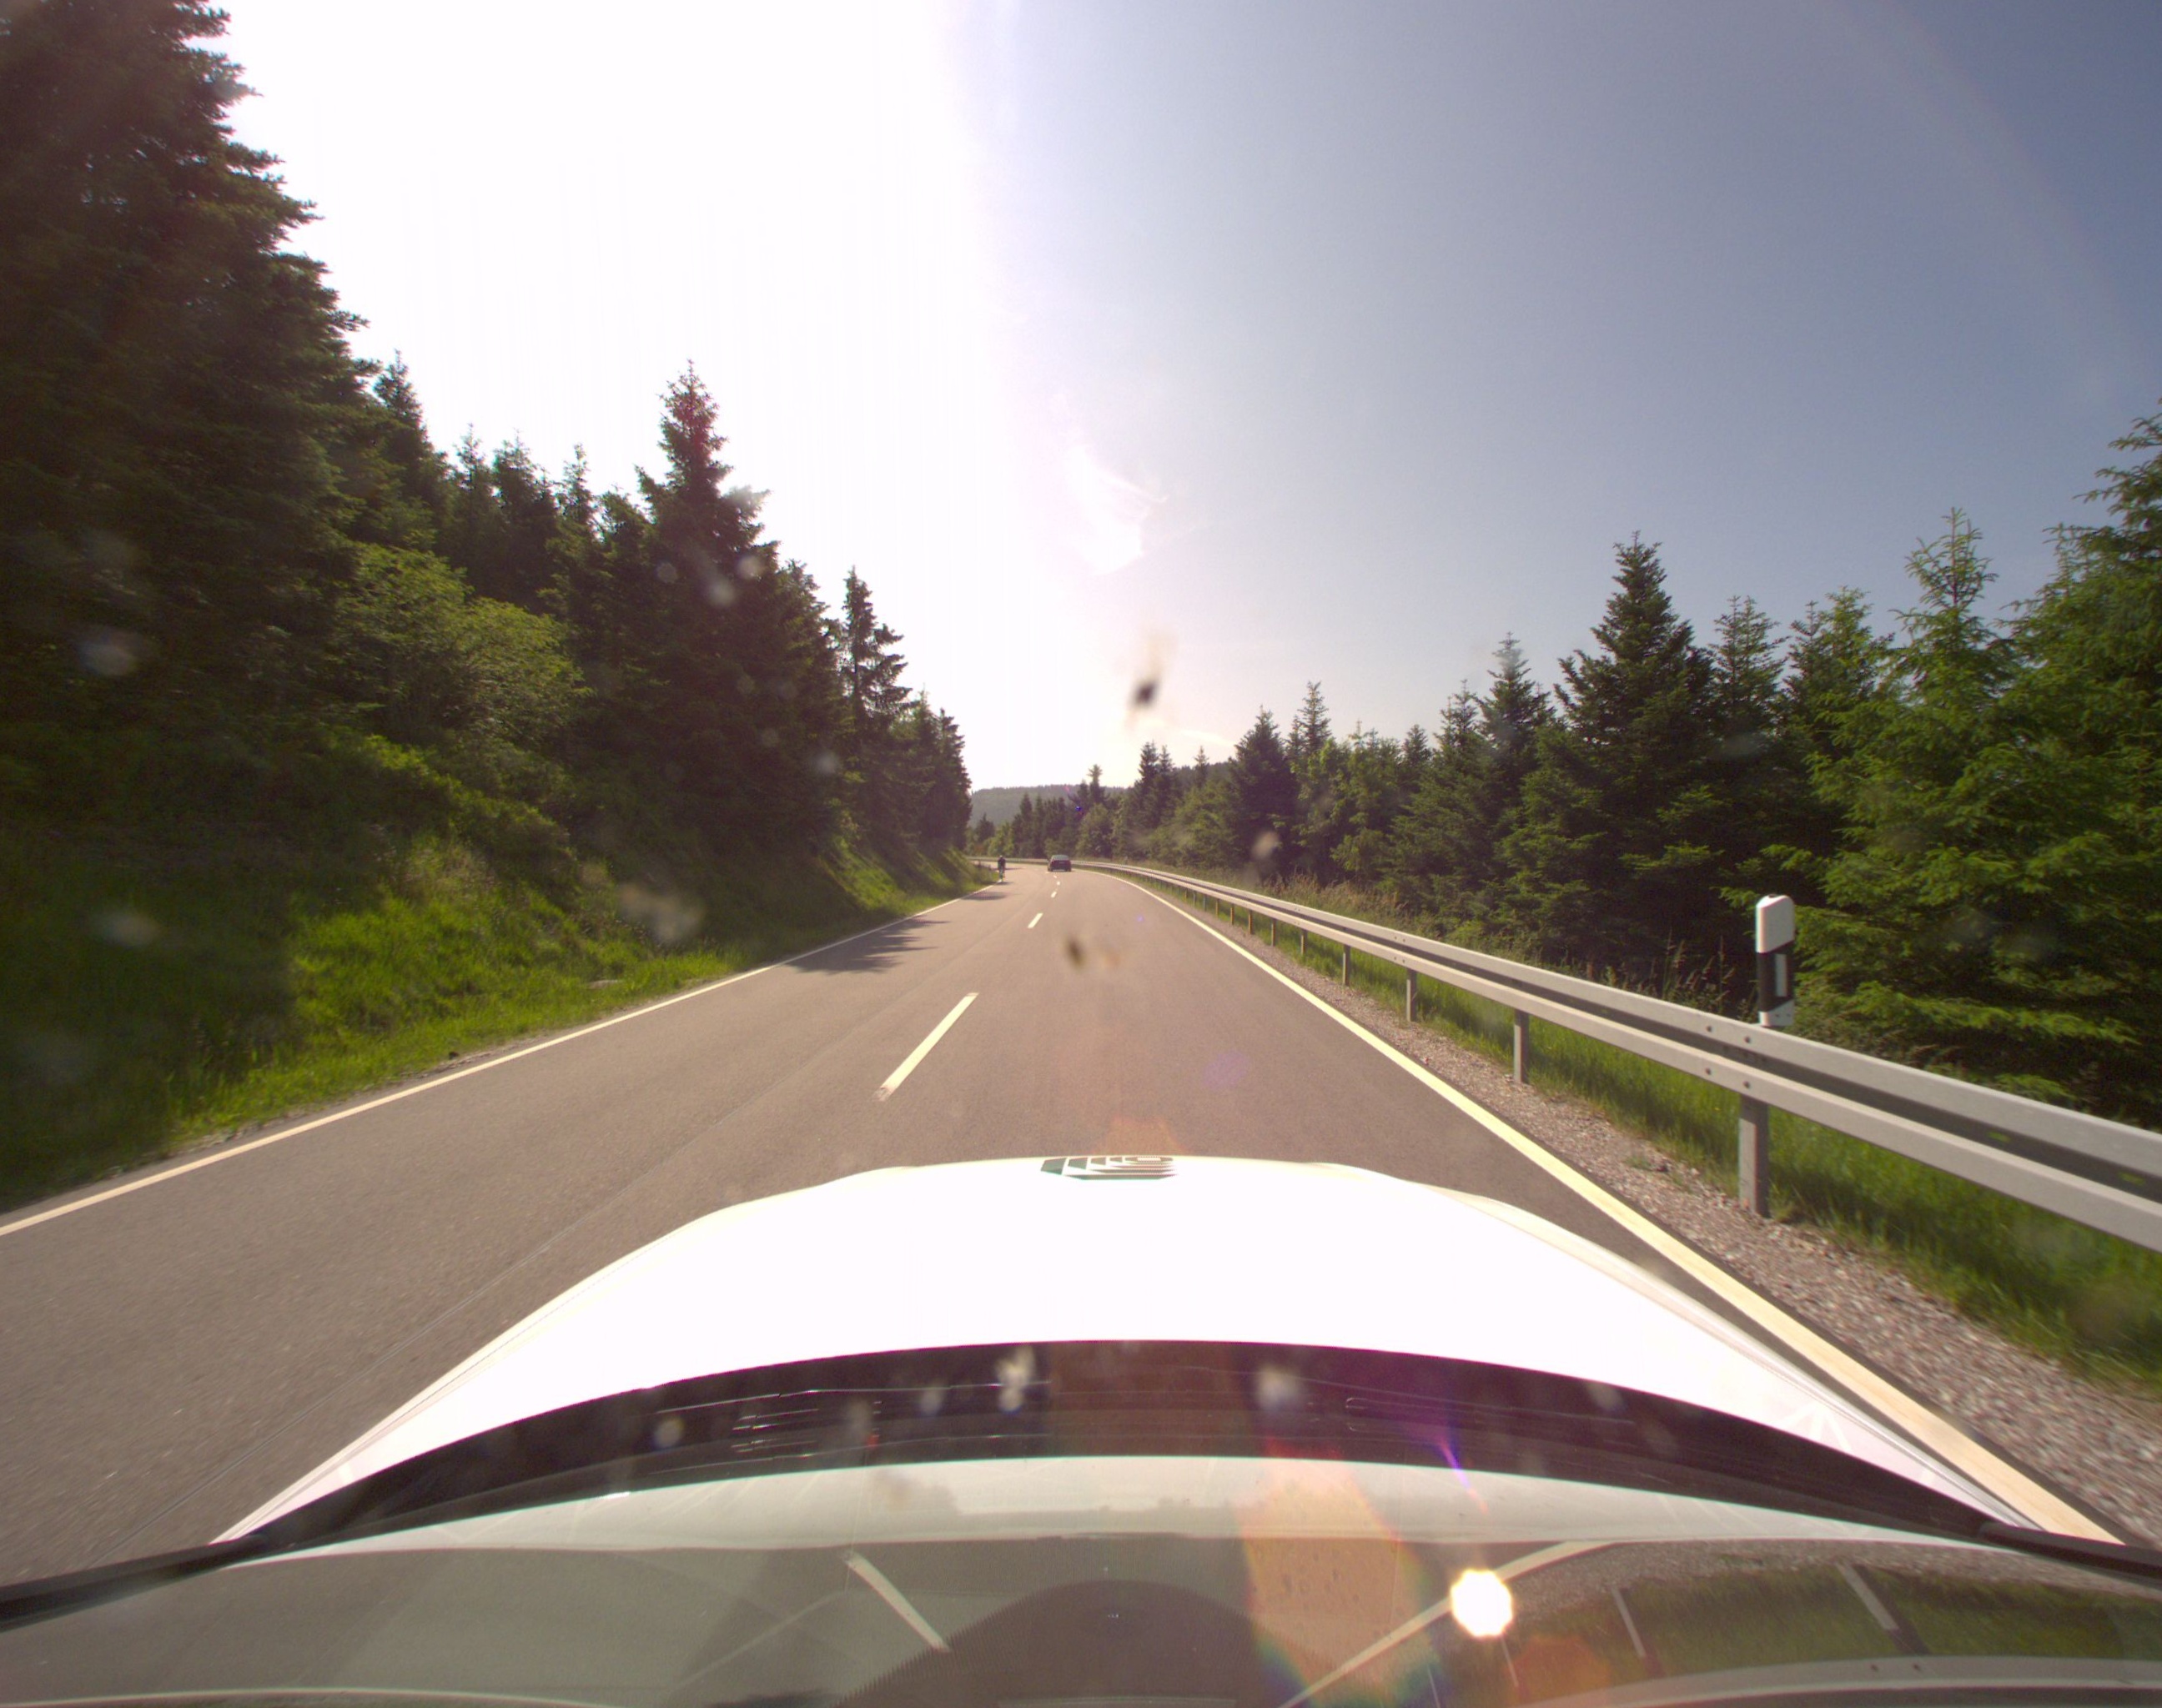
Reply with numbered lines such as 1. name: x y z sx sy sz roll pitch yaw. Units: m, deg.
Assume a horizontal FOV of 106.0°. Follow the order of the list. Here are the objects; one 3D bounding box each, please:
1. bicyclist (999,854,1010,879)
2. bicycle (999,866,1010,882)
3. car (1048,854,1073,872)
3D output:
1. bicyclist: -4.544 0.718 48.304 0.540 1.451 0.982 -2 0 -4
2. bicycle: -4.533 1.165 48.364 0.552 0.886 2.060 -2 0 -3
3. car: -1.804 0.733 69.924 1.774 1.442 3.700 -2 0 -7
